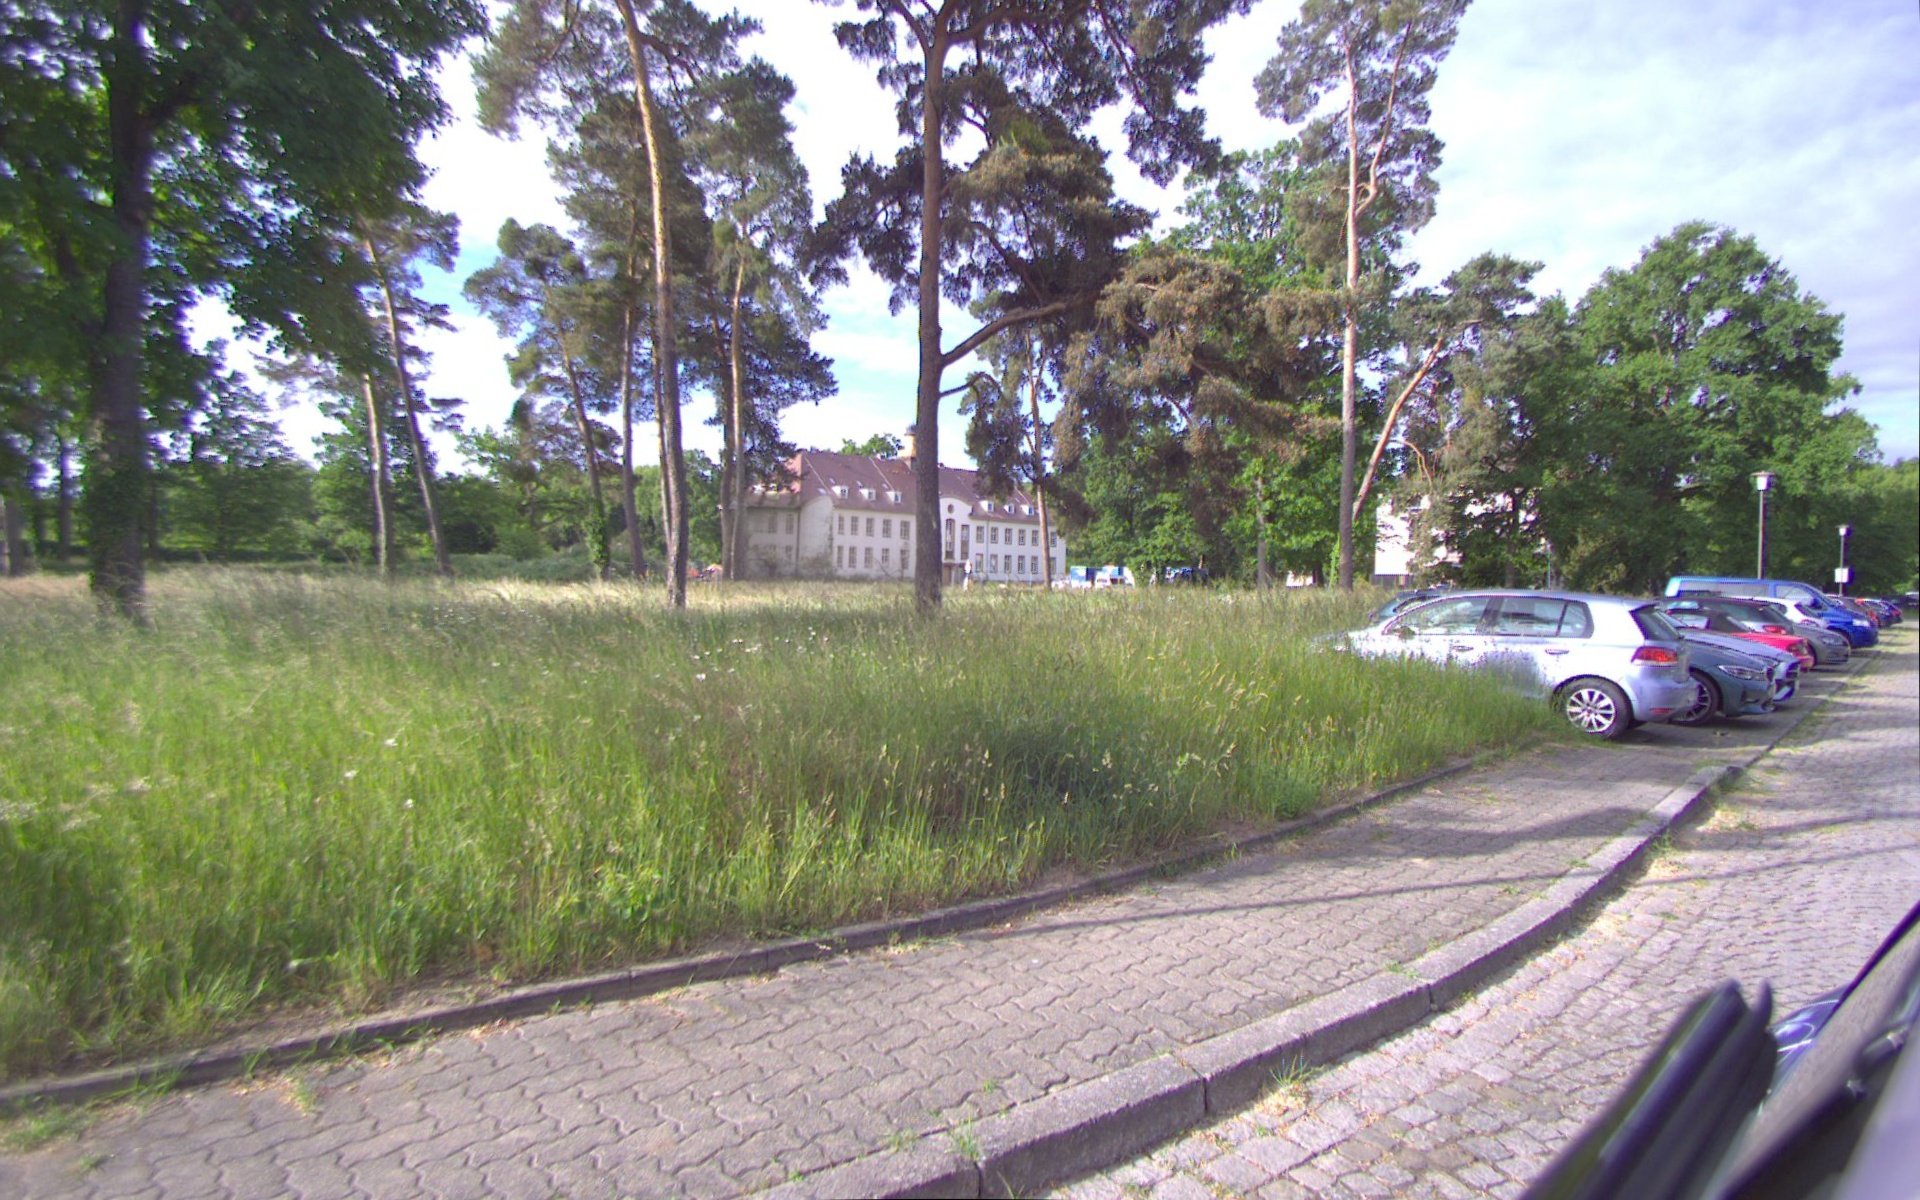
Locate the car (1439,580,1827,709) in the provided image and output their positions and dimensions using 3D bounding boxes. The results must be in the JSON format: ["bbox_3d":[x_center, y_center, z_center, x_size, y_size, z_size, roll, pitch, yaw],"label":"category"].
[{"bbox_3d":[9.799,0.520,15.017,1.820,1.491,4.510,-1,3,-45],"label":"car"}]

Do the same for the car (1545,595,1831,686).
[{"bbox_3d":[13.020,0.638,18.263,1.698,1.276,3.954,-1,3,-44],"label":"car"}]

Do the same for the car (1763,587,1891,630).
[{"bbox_3d":[35.535,0.305,41.531,3.879,1.491,1.660,4,4,44],"label":"car"}]

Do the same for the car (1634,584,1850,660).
[{"bbox_3d":[18.694,0.453,24.307,1.778,1.549,3.878,-1,3,-44],"label":"car"}]

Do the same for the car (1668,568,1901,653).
[{"bbox_3d":[22.582,0.192,27.861,4.736,1.952,1.960,5,4,44],"label":"car"}]

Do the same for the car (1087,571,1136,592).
[{"bbox_3d":[16.919,-2.041,112.873,5.861,2.328,2.165,0,2,-43],"label":"car"}]

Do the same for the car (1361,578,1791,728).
[{"bbox_3d":[7.817,0.531,13.133,4.504,1.491,1.867,3,3,41],"label":"car"}]

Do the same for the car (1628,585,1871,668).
[{"bbox_3d":[17.046,0.490,21.972,1.801,1.485,3.954,-1,3,-44],"label":"car"}]

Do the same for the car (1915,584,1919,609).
[{"bbox_3d":[82.417,-0.259,83.560,1.968,2.066,5.068,0,1,-45],"label":"car"}]

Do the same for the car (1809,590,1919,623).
[{"bbox_3d":[46.178,0.307,51.730,1.753,1.468,4.032,-1,3,-43],"label":"car"}]

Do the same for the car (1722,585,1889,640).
[{"bbox_3d":[28.540,0.352,34.246,4.192,1.608,1.848,3,3,44],"label":"car"}]

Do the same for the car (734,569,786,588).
[{"bbox_3d":[-22.029,-2.404,111.441,5.637,2.038,2.597,2,2,39],"label":"car"}]

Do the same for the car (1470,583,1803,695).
[{"bbox_3d":[11.118,0.526,16.862,1.712,1.491,4.344,-1,3,-45],"label":"car"}]

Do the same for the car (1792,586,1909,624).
[{"bbox_3d":[42.747,0.212,48.629,4.128,1.588,1.719,3,3,45],"label":"car"}]

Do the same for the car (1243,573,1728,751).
[{"bbox_3d":[5.772,0.509,11.530,4.544,1.523,1.903,3,3,44],"label":"car"}]

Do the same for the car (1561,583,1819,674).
[{"bbox_3d":[14.594,0.485,20.366,1.743,1.513,3.954,-1,3,-44],"label":"car"}]
